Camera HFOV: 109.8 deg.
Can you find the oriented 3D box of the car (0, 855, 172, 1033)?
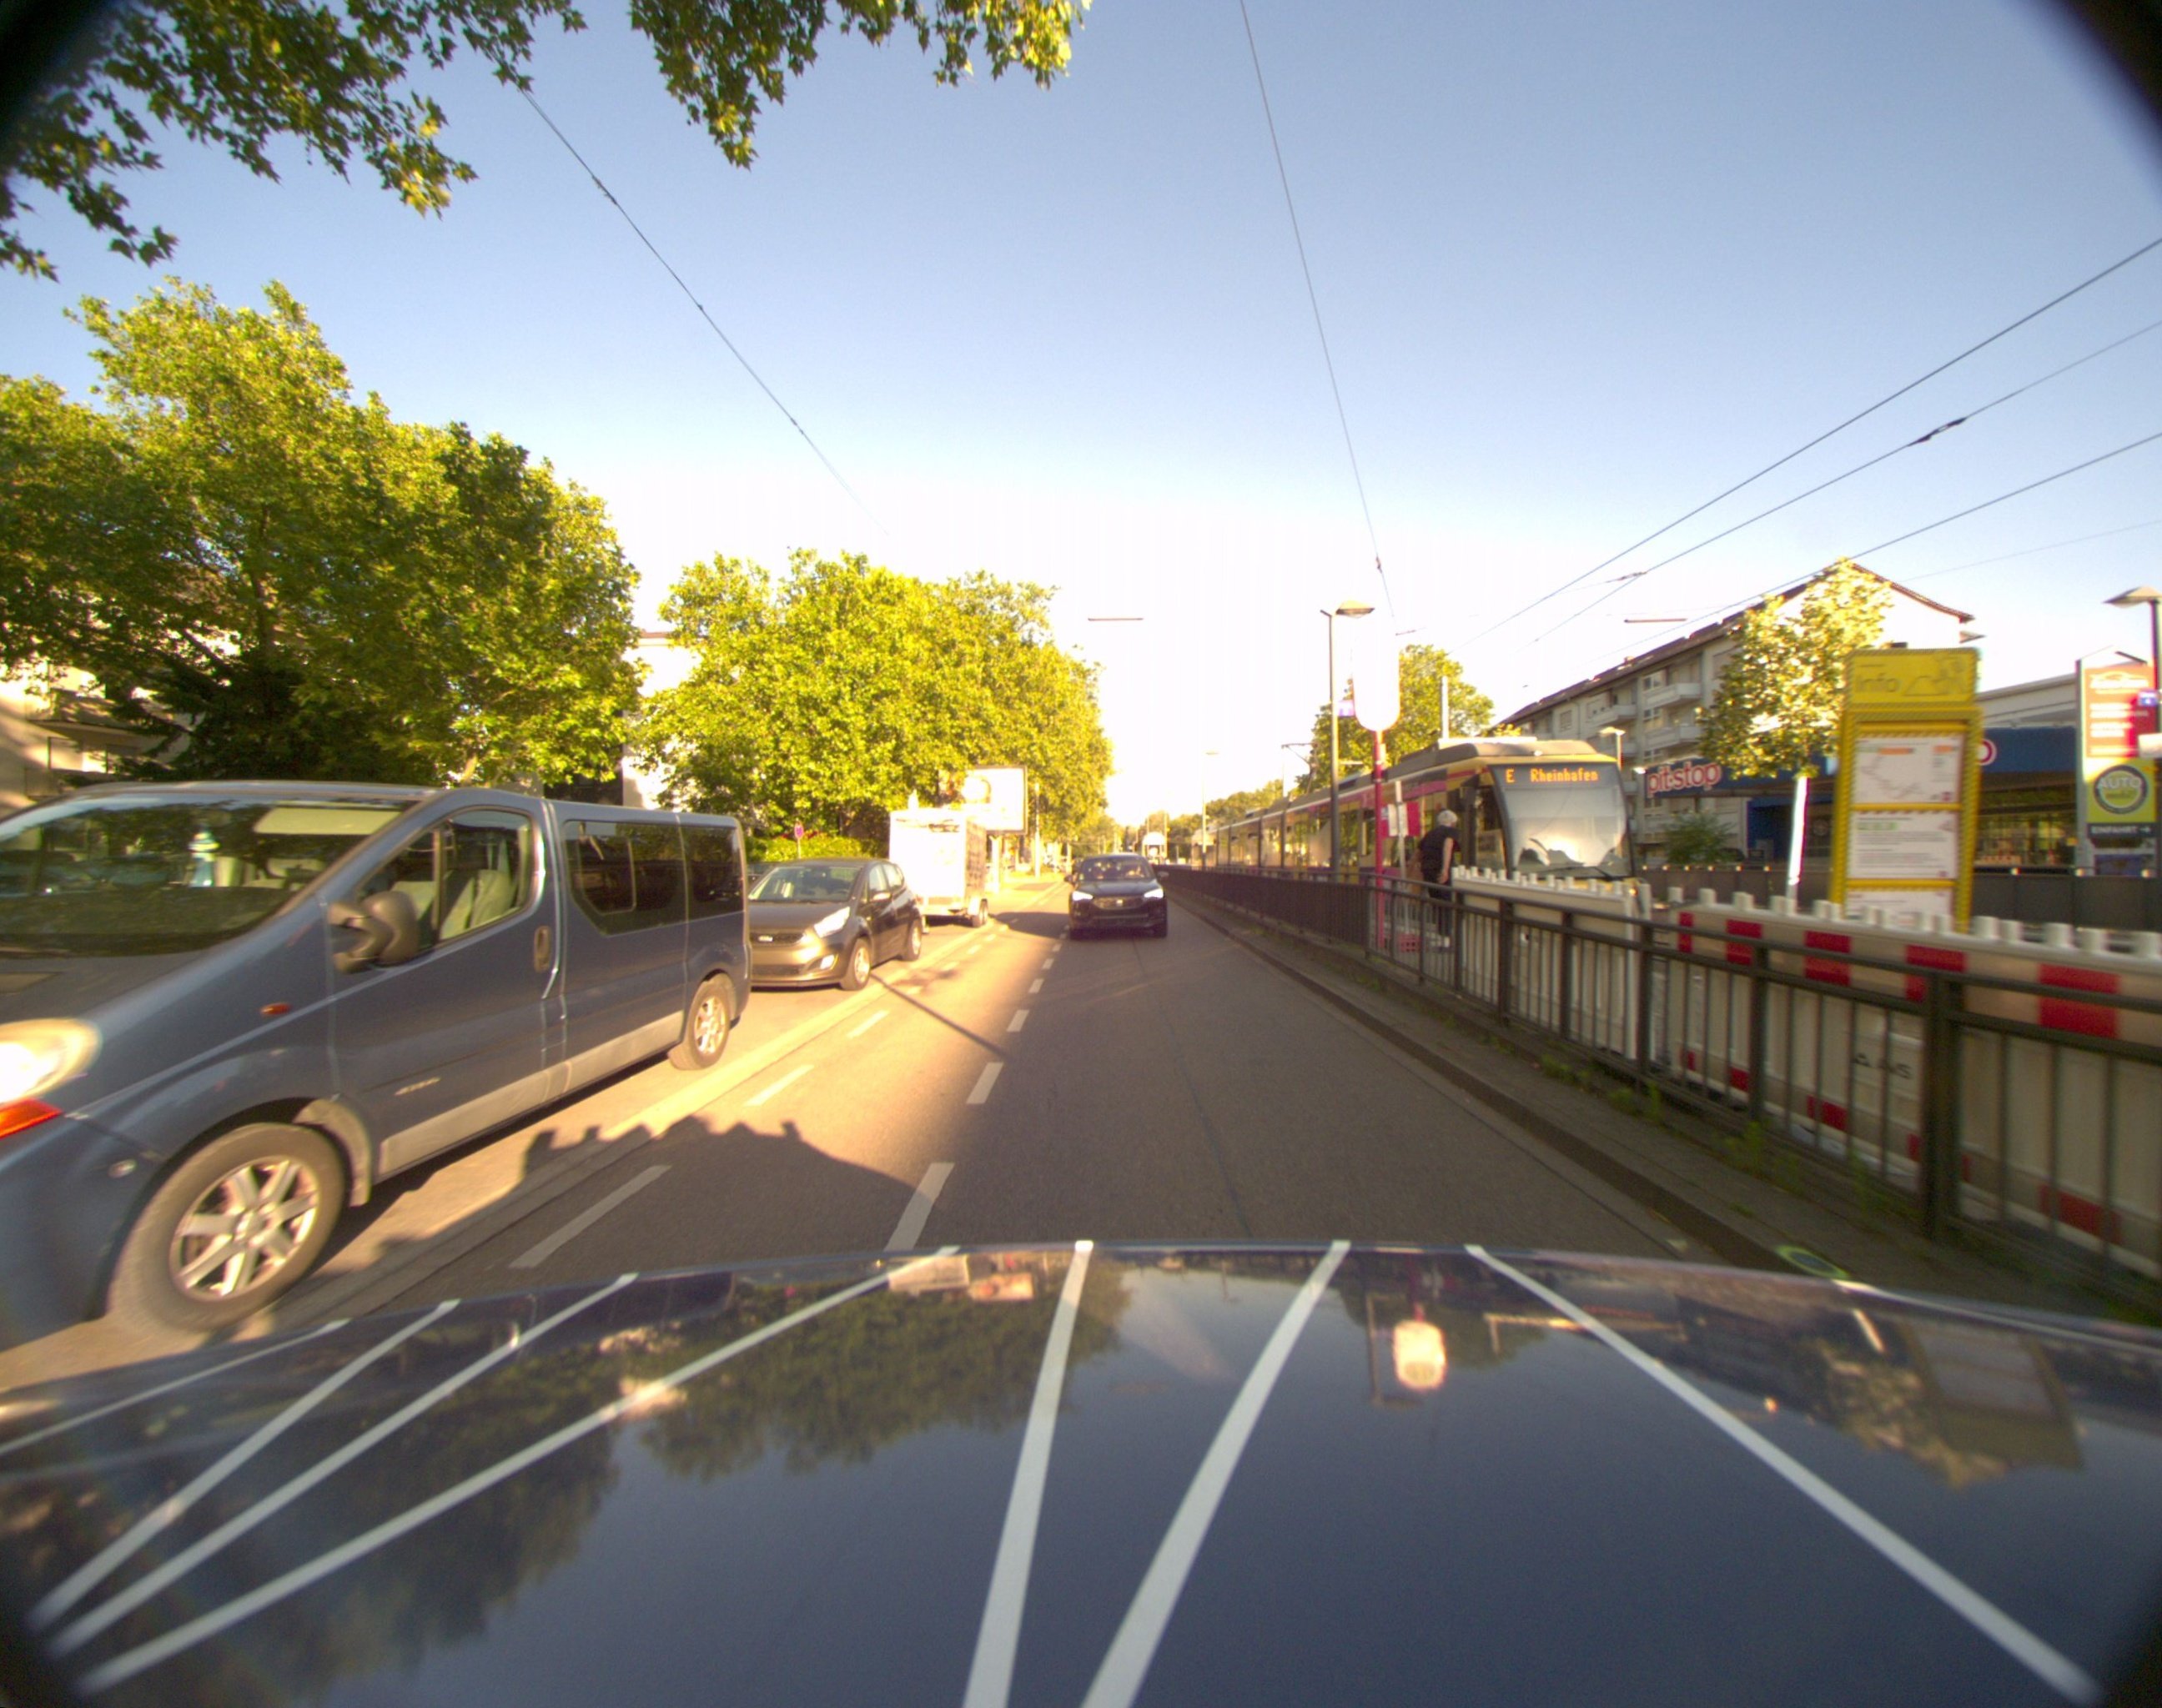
[{"bbox_3d":[-11.701,0.811,7.213,4.121,1.589,1.803,0,0,3],"label":"car"}]

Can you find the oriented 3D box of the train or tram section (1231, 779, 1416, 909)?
[{"bbox_3d":[7.538,-0.302,25.572,3.043,3.497,10.096,1,0,1],"label":"train or tram section"}]

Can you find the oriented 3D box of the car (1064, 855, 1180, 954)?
[{"bbox_3d":[0.653,0.870,14.969,1.911,1.606,4.085,-3,0,-1],"label":"car"}]

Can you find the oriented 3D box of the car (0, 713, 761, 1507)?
[{"bbox_3d":[-3.687,0.676,4.045,1.889,2.066,4.563,0,0,2],"label":"car"}]

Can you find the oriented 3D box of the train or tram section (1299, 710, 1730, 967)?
[{"bbox_3d":[7.393,-0.237,15.479,3.043,3.497,10.096,1,0,1],"label":"train or tram section"}]

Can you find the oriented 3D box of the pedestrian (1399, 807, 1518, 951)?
[{"bbox_3d":[4.299,0.271,8.708,0.918,1.541,0.789,-2,0,-6],"label":"pedestrian"}]

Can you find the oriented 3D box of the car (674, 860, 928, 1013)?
[{"bbox_3d":[-3.418,0.910,10.180,1.800,1.621,4.001,0,0,2],"label":"car"}]

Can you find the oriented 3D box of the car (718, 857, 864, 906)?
[{"bbox_3d":[-9.398,0.847,25.011,4.298,1.487,1.997,0,0,-15],"label":"car"}]

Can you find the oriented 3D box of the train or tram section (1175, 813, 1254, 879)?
[{"bbox_3d":[7.808,-0.463,45.782,3.043,3.497,10.096,1,0,1],"label":"train or tram section"}]

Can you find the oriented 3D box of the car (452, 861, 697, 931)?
[{"bbox_3d":[-11.606,0.917,17.666,4.293,1.487,2.000,0,0,-2],"label":"car"}]

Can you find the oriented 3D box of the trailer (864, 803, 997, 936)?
[{"bbox_3d":[-3.176,0.308,17.080,1.889,2.573,4.651,0,0,2],"label":"trailer"}]

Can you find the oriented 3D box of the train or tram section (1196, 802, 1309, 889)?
[{"bbox_3d":[7.676,-0.375,35.675,3.043,3.497,10.096,1,0,1],"label":"train or tram section"}]

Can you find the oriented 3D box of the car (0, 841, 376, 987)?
[{"bbox_3d":[-11.720,0.722,9.531,4.121,1.541,1.803,-3,0,3],"label":"car"}]
